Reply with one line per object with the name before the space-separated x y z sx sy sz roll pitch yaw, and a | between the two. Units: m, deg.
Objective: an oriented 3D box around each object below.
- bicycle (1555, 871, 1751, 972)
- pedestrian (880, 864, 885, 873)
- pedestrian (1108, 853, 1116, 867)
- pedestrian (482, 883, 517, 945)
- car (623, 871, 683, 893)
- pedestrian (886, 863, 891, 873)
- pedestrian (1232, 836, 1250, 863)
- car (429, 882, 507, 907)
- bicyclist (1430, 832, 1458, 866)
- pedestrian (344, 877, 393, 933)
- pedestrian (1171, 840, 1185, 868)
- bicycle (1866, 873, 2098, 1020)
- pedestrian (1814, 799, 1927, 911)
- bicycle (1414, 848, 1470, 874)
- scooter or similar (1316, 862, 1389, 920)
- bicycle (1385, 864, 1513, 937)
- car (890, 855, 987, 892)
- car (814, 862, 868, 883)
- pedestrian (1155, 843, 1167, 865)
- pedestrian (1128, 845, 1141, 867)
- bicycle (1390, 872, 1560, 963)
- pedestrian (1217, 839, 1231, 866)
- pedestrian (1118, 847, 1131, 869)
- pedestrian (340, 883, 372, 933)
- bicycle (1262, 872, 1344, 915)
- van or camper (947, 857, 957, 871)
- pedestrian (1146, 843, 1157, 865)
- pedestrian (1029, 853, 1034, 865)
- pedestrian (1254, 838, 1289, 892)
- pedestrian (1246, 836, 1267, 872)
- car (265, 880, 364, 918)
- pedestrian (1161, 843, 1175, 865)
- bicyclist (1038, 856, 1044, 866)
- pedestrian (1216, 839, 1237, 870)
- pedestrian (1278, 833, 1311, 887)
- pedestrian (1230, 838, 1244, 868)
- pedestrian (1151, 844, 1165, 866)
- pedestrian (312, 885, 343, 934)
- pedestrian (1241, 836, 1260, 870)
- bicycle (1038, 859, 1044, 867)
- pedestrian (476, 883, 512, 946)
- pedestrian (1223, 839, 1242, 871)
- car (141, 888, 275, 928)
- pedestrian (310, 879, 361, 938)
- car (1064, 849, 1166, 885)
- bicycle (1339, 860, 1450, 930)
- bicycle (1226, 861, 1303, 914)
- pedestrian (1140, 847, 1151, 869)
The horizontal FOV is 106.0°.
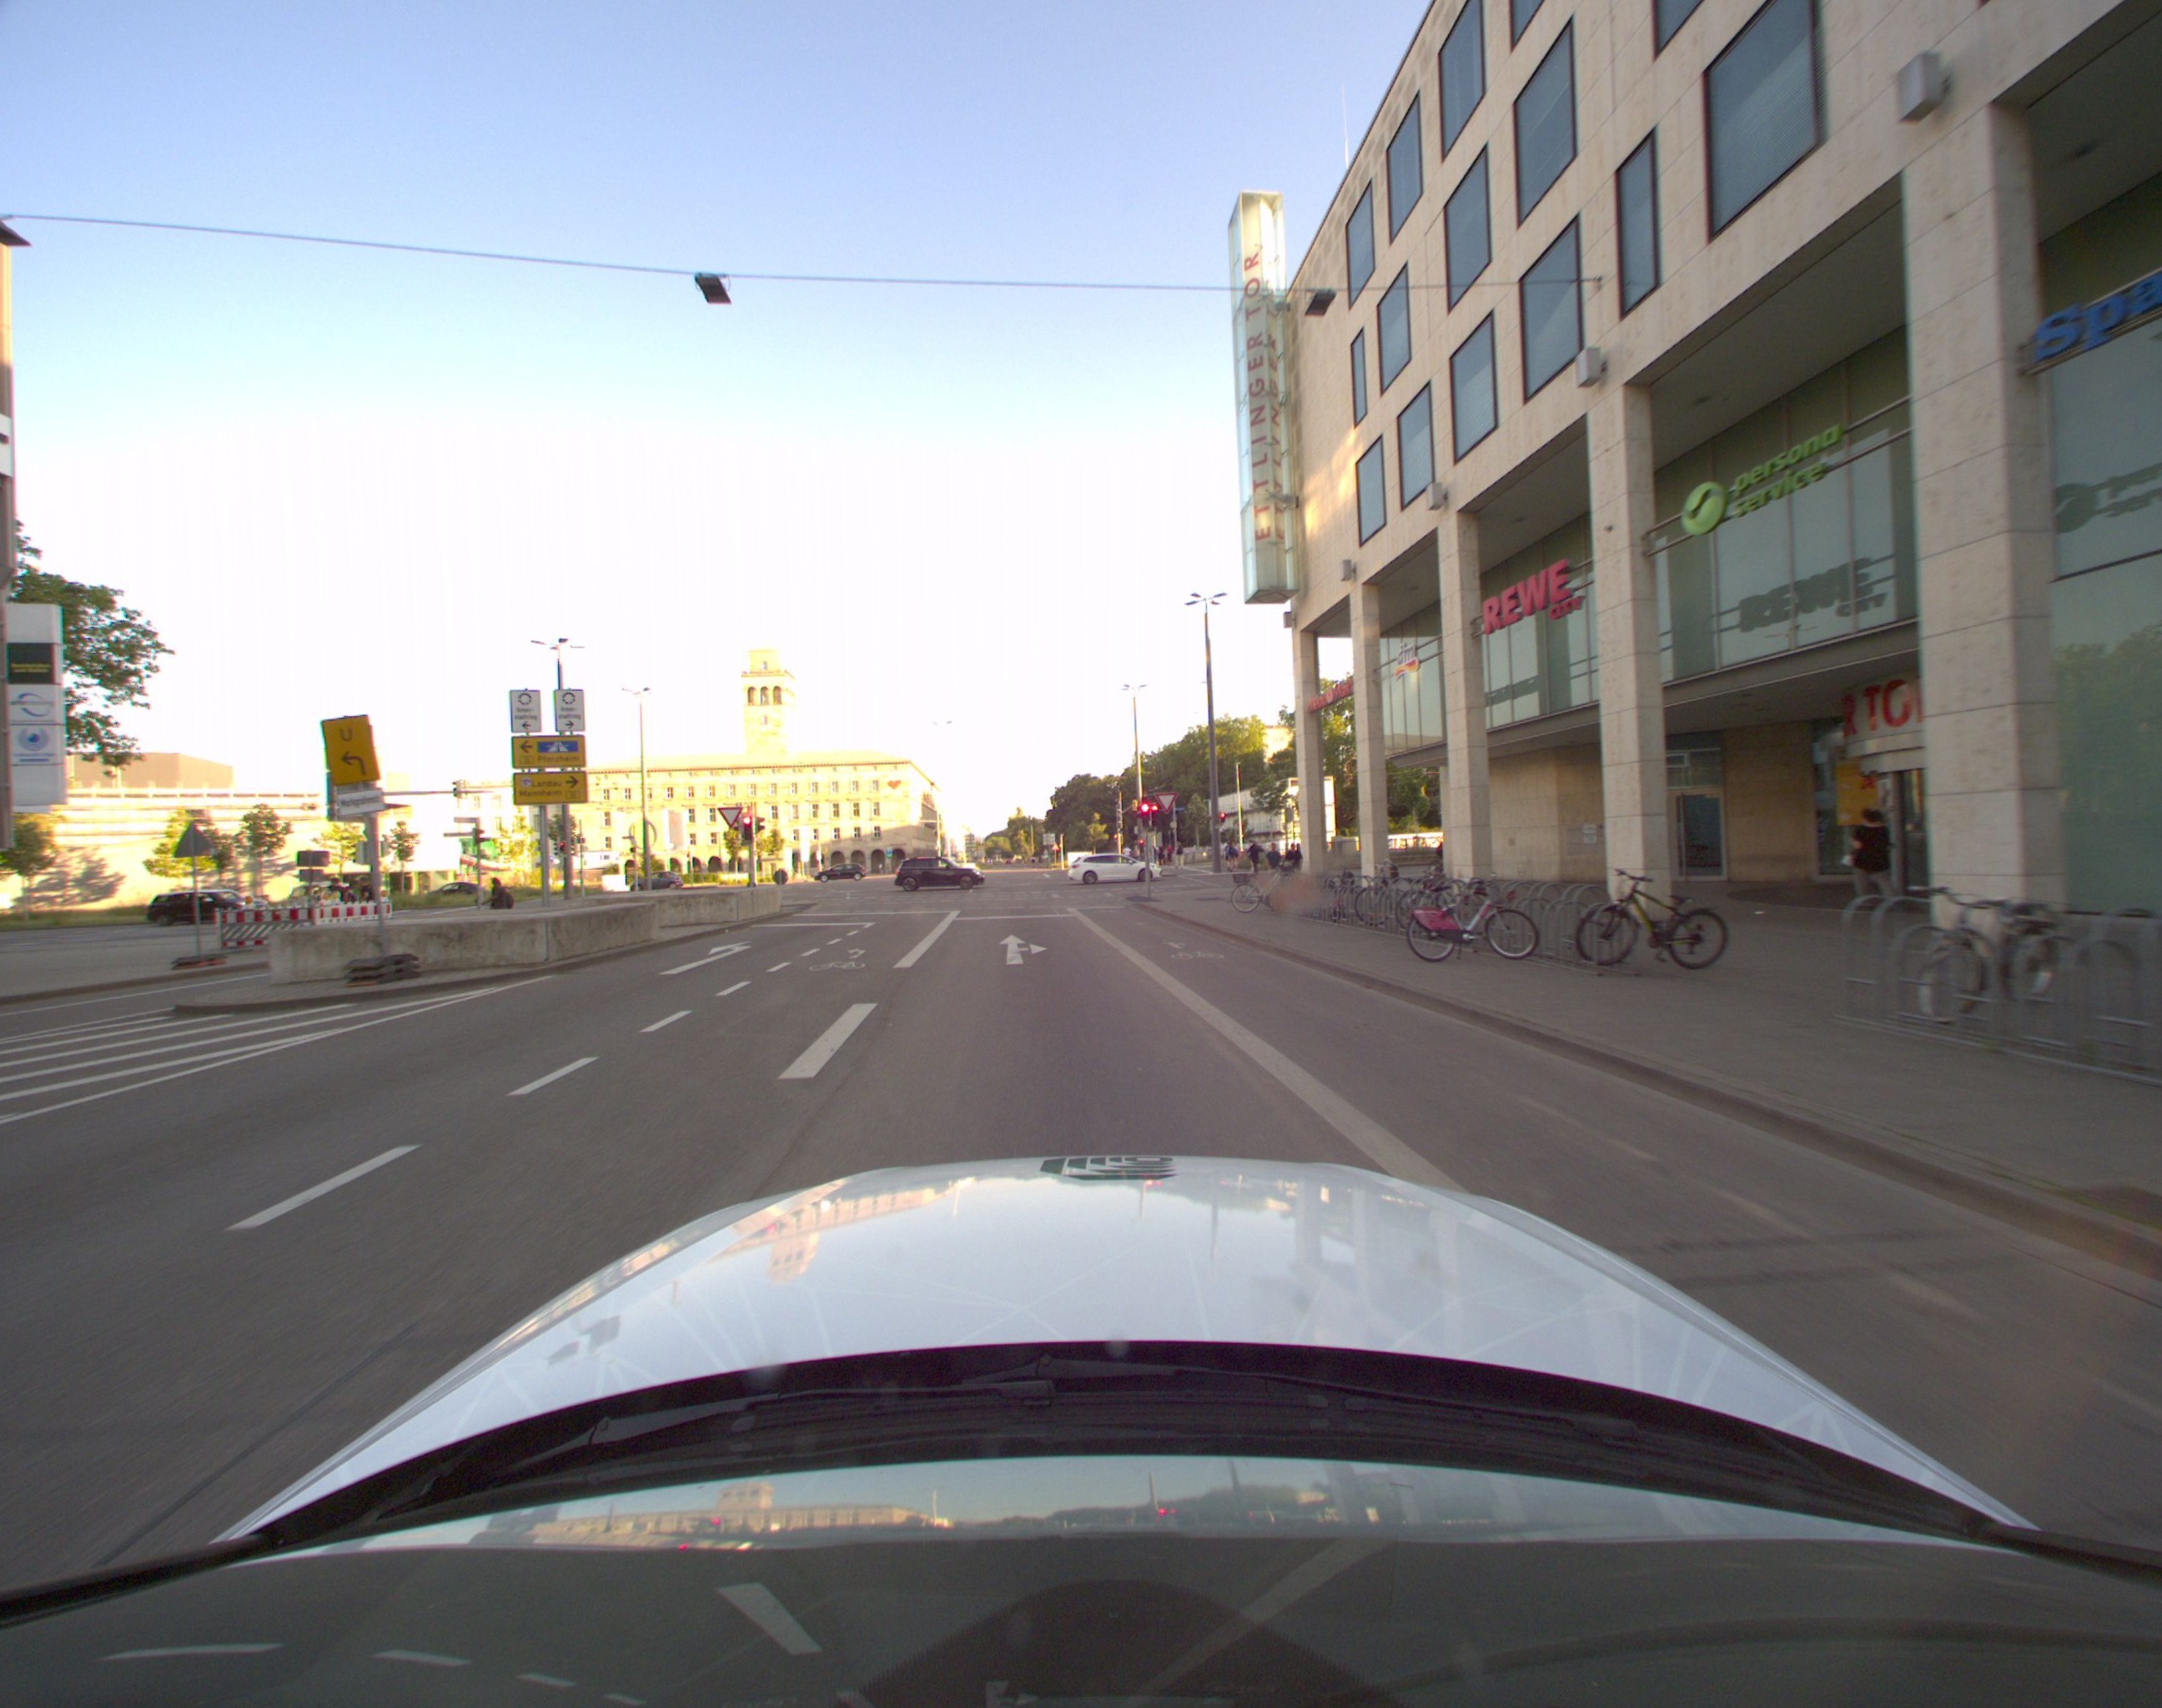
bicycle | 6.463 0.745 9.257 1.809 1.100 0.601 0 0 1
pedestrian | -33.671 2.416 138.074 0.632 1.567 0.774 -2 0 -4
pedestrian | 3.750 0.703 98.010 0.807 1.730 0.926 -2 0 -7
pedestrian | -17.745 1.810 24.858 0.743 1.777 0.855 -2 0 -29
car | -32.327 2.095 61.580 3.717 1.453 1.539 -3 0 -12
pedestrian | -32.790 2.358 138.455 0.632 1.567 0.774 -2 0 -4
pedestrian | 10.211 -0.285 51.973 0.827 1.730 0.692 -2 0 35
car | -44.088 2.894 58.652 3.992 1.494 1.820 -3 0 -13
bicyclist | 16.441 -0.226 36.893 0.878 1.531 0.652 -3 0 -6
pedestrian | -23.824 1.685 27.241 0.737 1.776 0.862 -5 0 -3
pedestrian | 6.070 0.012 50.967 0.690 1.730 0.740 -2 0 -4
bicycle | 7.426 0.712 6.716 1.707 1.023 0.597 -3 0 -17
pedestrian | 13.365 0.006 13.818 0.860 1.776 0.988 -4 0 -7
bicycle | 16.337 0.324 36.879 2.239 1.062 0.652 -3 0 -6
scooter or similar | 5.713 0.767 17.160 1.274 1.160 0.672 -2 0 -7
bicycle | 6.152 0.757 13.644 1.867 1.113 0.570 -2 0 -3
car | -6.814 0.920 39.427 4.456 1.496 2.123 -3 0 -7
car | -19.273 1.456 65.321 3.991 1.453 1.535 -3 0 -21
pedestrian | 6.416 0.035 65.300 0.807 1.730 0.686 -2 0 -7
pedestrian | 4.254 0.163 65.004 0.807 1.730 0.686 -2 0 -8
bicycle | 5.051 0.800 10.498 1.893 1.047 0.570 -3 0 -1
pedestrian | 9.319 -0.111 53.155 0.831 1.730 0.690 -2 0 10
pedestrian | 3.475 0.318 64.813 0.807 1.730 0.686 -2 0 -8
pedestrian | -27.438 2.045 30.837 0.744 1.776 0.853 -5 0 -38
bicycle | 5.452 0.971 20.001 1.865 0.936 0.515 -3 0 -8
van or camper | -26.999 2.077 170.335 1.882 2.760 4.919 -2 0 -7
pedestrian | 5.683 0.026 65.295 0.804 1.730 0.689 -2 0 6
pedestrian | -5.968 0.590 98.352 0.522 1.374 0.686 -2 0 -9
pedestrian | 6.551 0.361 28.020 0.859 1.776 0.739 -5 0 -5
pedestrian | 9.100 -0.010 42.322 0.889 1.830 0.688 -2 0 2
car | -38.387 2.231 40.875 3.141 1.685 1.601 -3 0 -20
pedestrian | 7.071 0.021 65.935 0.690 1.730 0.803 -2 0 -32
bicyclist | -4.992 0.841 101.079 0.651 1.223 0.858 -2 0 -9
pedestrian | 8.283 0.023 46.378 0.689 1.730 0.888 -2 0 -27
pedestrian | 7.358 0.211 28.111 0.755 1.776 0.739 -5 0 -5
pedestrian | 9.077 -0.052 47.349 0.681 1.730 0.899 -2 0 13
pedestrian | 6.327 0.086 66.788 0.691 1.730 0.801 -2 0 -39
pedestrian | -28.406 2.083 30.708 0.745 1.776 0.853 -5 0 -42
pedestrian | 9.287 -0.043 44.740 0.888 1.840 0.689 -2 0 6
bicycle | -4.961 1.144 101.100 0.651 0.970 1.480 -2 0 -9
pedestrian | -17.404 1.786 24.179 0.743 1.777 0.855 -2 0 -32
pedestrian | 8.358 0.036 45.050 0.889 1.730 0.688 -2 0 3
car | -42.863 2.616 40.079 4.187 1.592 1.688 -3 0 -14
pedestrian | -23.996 1.734 26.217 0.738 1.776 0.860 -5 0 -10
car | 1.635 0.610 40.374 4.791 1.496 2.123 -3 0 -7
bicycle | 5.922 0.748 15.406 1.865 1.260 0.672 -1 0 -8
bicycle | 4.550 0.832 20.294 1.806 1.212 0.572 -3 0 9
pedestrian | 5.238 0.298 65.936 0.804 1.730 0.689 -2 0 6
